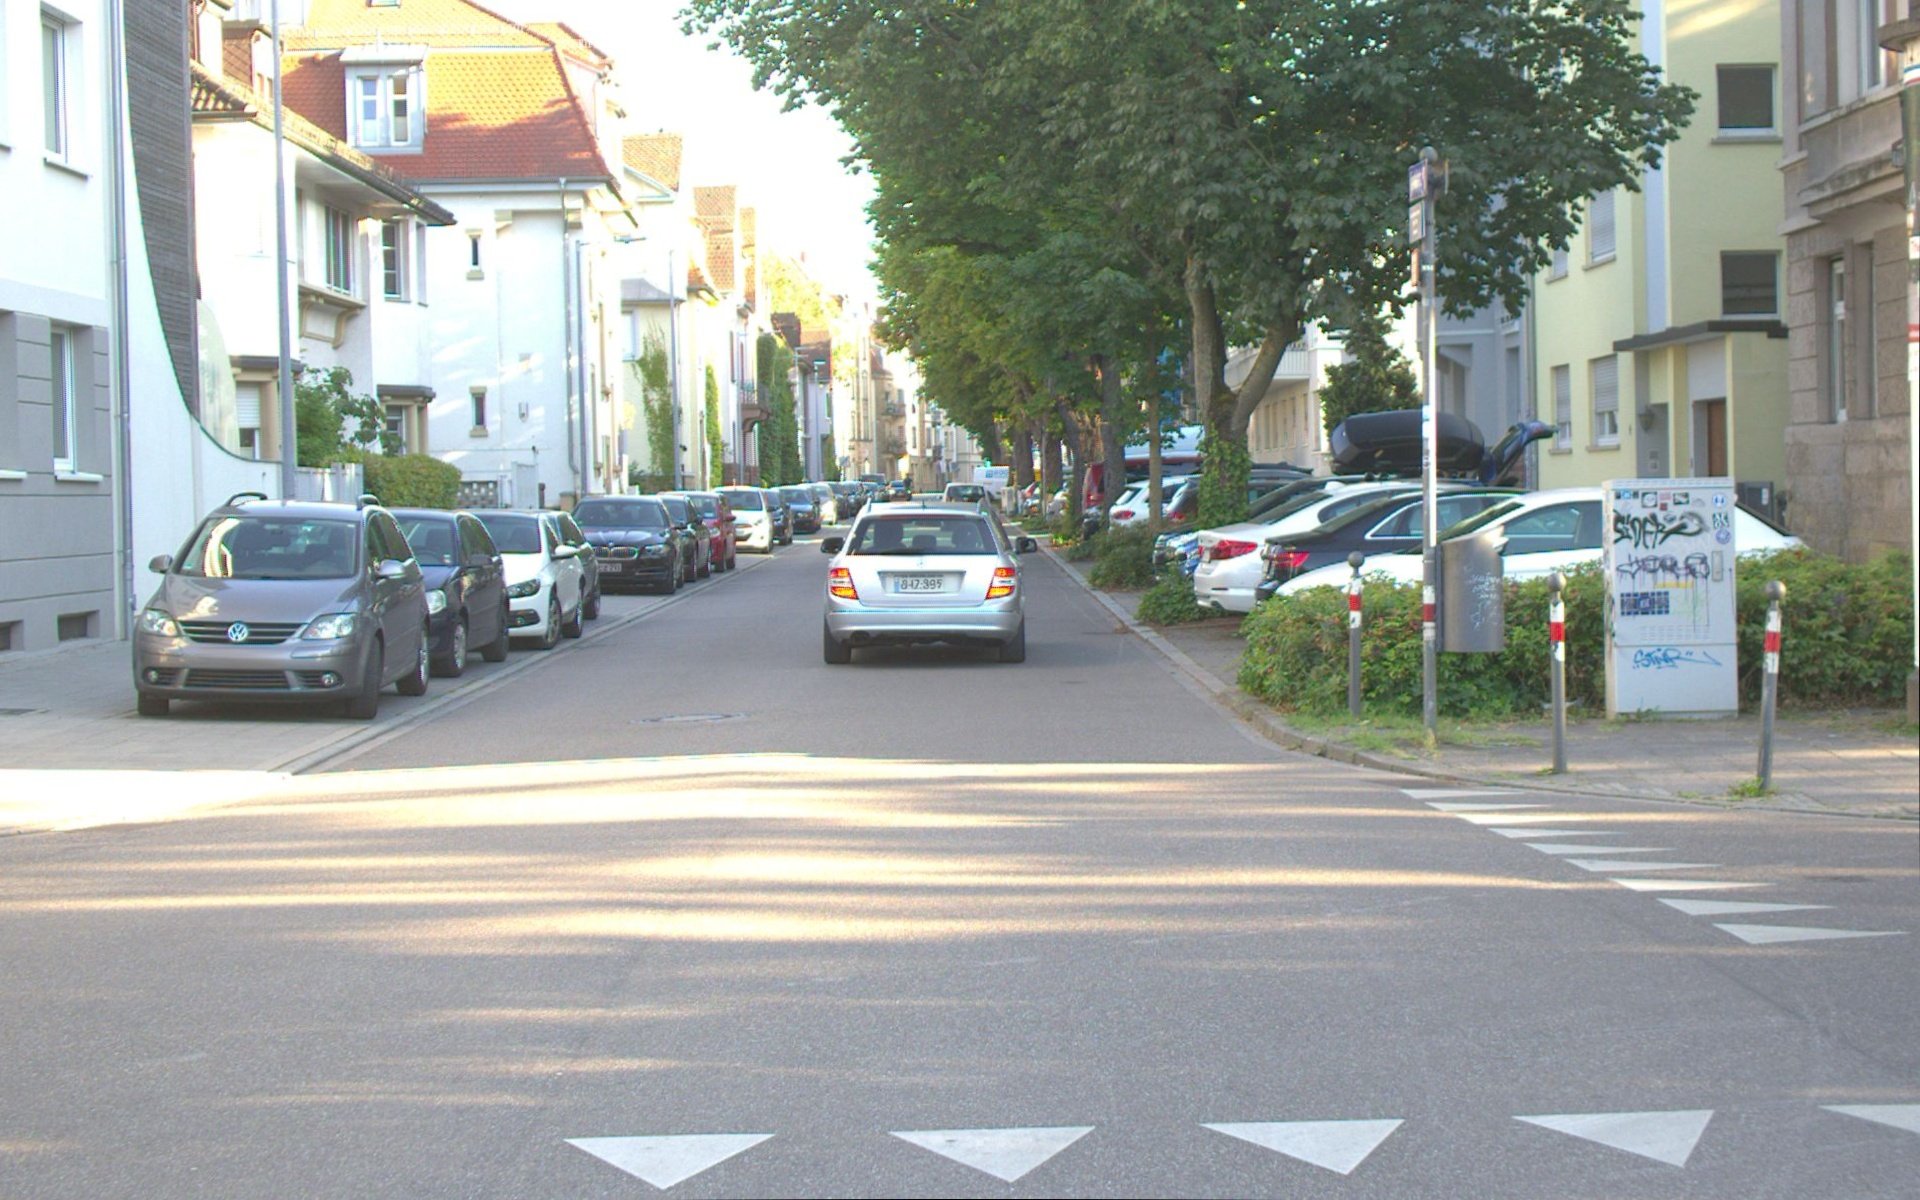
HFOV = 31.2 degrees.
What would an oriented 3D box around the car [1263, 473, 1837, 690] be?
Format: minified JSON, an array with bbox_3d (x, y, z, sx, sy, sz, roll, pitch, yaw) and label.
[{"bbox_3d":[4.475,-0.169,26.499,4.048,1.500,1.862,-2,2,-1],"label":"car"}]

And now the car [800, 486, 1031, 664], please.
[{"bbox_3d":[-0.332,-0.257,31.151,1.817,1.468,4.216,-1,1,3],"label":"car"}]

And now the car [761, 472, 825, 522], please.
[{"bbox_3d":[-5.174,-3.209,106.956,1.799,1.477,3.857,-1,2,0],"label":"car"}]

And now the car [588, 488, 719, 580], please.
[{"bbox_3d":[-5.228,-1.160,59.126,1.783,1.492,4.700,-1,2,1],"label":"car"}]

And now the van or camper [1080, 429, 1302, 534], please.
[{"bbox_3d":[4.566,-2.346,68.135,4.313,2.006,2.000,0,2,3],"label":"van or camper"}]

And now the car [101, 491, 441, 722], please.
[{"bbox_3d":[-5.149,-0.019,26.217,1.884,1.585,4.091,-1,2,-2],"label":"car"}]

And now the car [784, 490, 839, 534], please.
[{"bbox_3d":[-5.298,-3.149,123.034,1.799,1.477,3.857,-1,2,0],"label":"car"}]

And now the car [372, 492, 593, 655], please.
[{"bbox_3d":[-4.956,-0.328,36.190,1.884,1.585,4.091,-1,2,-2],"label":"car"}]

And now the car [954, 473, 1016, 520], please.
[{"bbox_3d":[0.840,-3.358,111.749,1.817,1.468,4.216,-1,1,3],"label":"car"}]

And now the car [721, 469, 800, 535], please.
[{"bbox_3d":[-5.132,-2.546,88.673,1.799,1.638,3.857,-1,2,0],"label":"car"}]

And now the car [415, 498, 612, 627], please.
[{"bbox_3d":[-5.273,-0.484,41.022,1.758,1.442,4.142,-1,2,1],"label":"car"}]

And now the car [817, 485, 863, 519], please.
[{"bbox_3d":[-5.118,-4.179,146.788,1.799,1.382,3.607,-1,2,0],"label":"car"}]

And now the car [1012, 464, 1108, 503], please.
[{"bbox_3d":[4.047,-4.721,139.754,3.844,1.477,1.805,-1,2,1],"label":"car"}]

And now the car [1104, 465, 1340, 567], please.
[{"bbox_3d":[4.340,-1.408,57.317,3.730,1.553,1.725,-2,2,-1],"label":"car"}]

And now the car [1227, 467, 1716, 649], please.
[{"bbox_3d":[4.612,-0.402,31.364,4.142,1.443,1.673,-2,2,-1],"label":"car"}]

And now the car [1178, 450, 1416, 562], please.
[{"bbox_3d":[5.340,-1.499,54.741,3.547,1.648,1.725,-2,2,-1],"label":"car"}]

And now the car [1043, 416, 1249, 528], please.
[{"bbox_3d":[5.212,-3.611,96.830,5.541,2.958,2.472,-1,2,-2],"label":"car"}]

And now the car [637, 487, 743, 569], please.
[{"bbox_3d":[-5.060,-1.369,64.814,1.659,1.483,3.754,-1,2,1],"label":"car"}]

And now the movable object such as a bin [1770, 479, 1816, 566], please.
[{"bbox_3d":[10.501,-0.975,43.344,0.456,1.082,0.532,-1,1,1],"label":"movable object such as a bin"}]

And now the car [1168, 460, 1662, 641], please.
[{"bbox_3d":[4.450,-0.521,34.012,4.476,1.520,1.955,-3,3,-5],"label":"car"}]

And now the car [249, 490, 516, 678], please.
[{"bbox_3d":[-5.232,-0.205,31.635,1.884,1.585,4.091,-1,2,-2],"label":"car"}]

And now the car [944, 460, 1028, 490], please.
[{"bbox_3d":[1.372,-6.582,181.048,4.265,1.469,1.531,0,1,33],"label":"car"}]

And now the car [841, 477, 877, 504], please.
[{"bbox_3d":[-5.511,-6.001,187.877,1.799,1.382,3.607,-1,2,0],"label":"car"}]

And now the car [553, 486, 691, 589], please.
[{"bbox_3d":[-5.154,-0.981,52.866,1.854,1.492,4.656,-1,2,-3],"label":"car"}]

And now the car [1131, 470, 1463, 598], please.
[{"bbox_3d":[4.461,-0.894,45.967,4.190,1.553,1.874,-2,2,-1],"label":"car"}]

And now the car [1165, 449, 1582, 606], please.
[{"bbox_3d":[4.710,-0.850,39.616,4.526,1.635,1.874,-2,2,-1],"label":"car"}]

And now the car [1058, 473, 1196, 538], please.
[{"bbox_3d":[4.550,-2.593,93.905,3.594,1.654,1.650,-1,2,-2],"label":"car"}]

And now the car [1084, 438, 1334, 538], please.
[{"bbox_3d":[4.725,-2.151,65.753,4.625,1.830,1.954,-1,2,0],"label":"car"}]

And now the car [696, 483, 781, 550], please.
[{"bbox_3d":[-5.089,-1.928,79.280,1.659,1.494,3.754,-1,2,1],"label":"car"}]

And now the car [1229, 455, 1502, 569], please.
[{"bbox_3d":[6.078,-1.338,51.820,3.925,1.552,1.725,-2,3,2],"label":"car"}]
